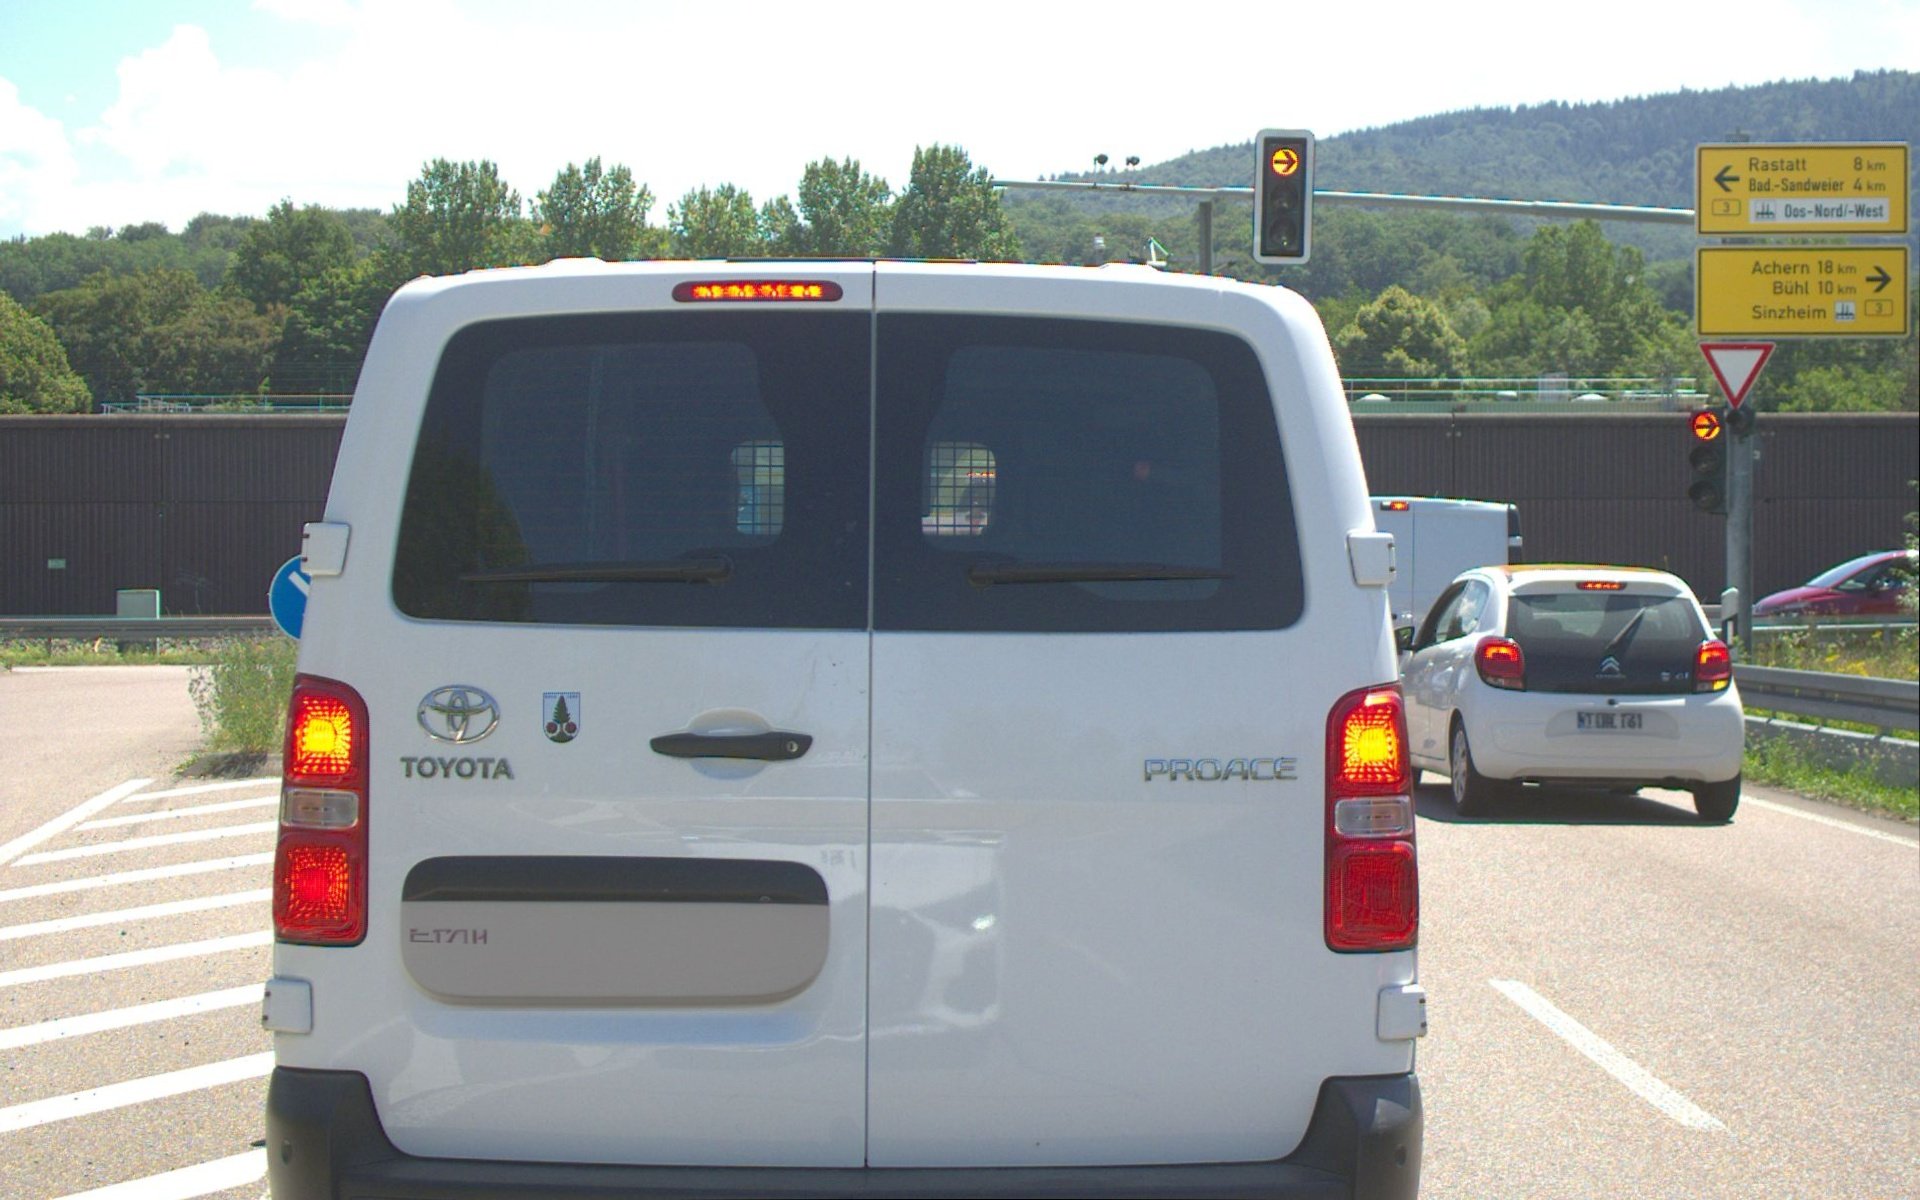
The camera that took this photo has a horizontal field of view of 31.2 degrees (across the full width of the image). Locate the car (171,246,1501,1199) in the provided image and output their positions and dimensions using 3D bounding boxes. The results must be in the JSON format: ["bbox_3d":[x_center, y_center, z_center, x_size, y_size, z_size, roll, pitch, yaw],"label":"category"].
[{"bbox_3d":[-0.214,0.424,6.924,1.886,1.880,4.000,1,1,-1],"label":"car"}]

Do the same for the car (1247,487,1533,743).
[{"bbox_3d":[3.586,0.092,29.495,1.928,1.993,4.837,1,1,1],"label":"car"}]

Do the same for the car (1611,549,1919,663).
[{"bbox_3d":[12.058,0.081,51.099,4.309,1.651,2.000,0,1,-3],"label":"car"}]

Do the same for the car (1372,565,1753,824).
[{"bbox_3d":[3.573,0.511,20.917,1.656,1.426,3.366,1,1,-1],"label":"car"}]
